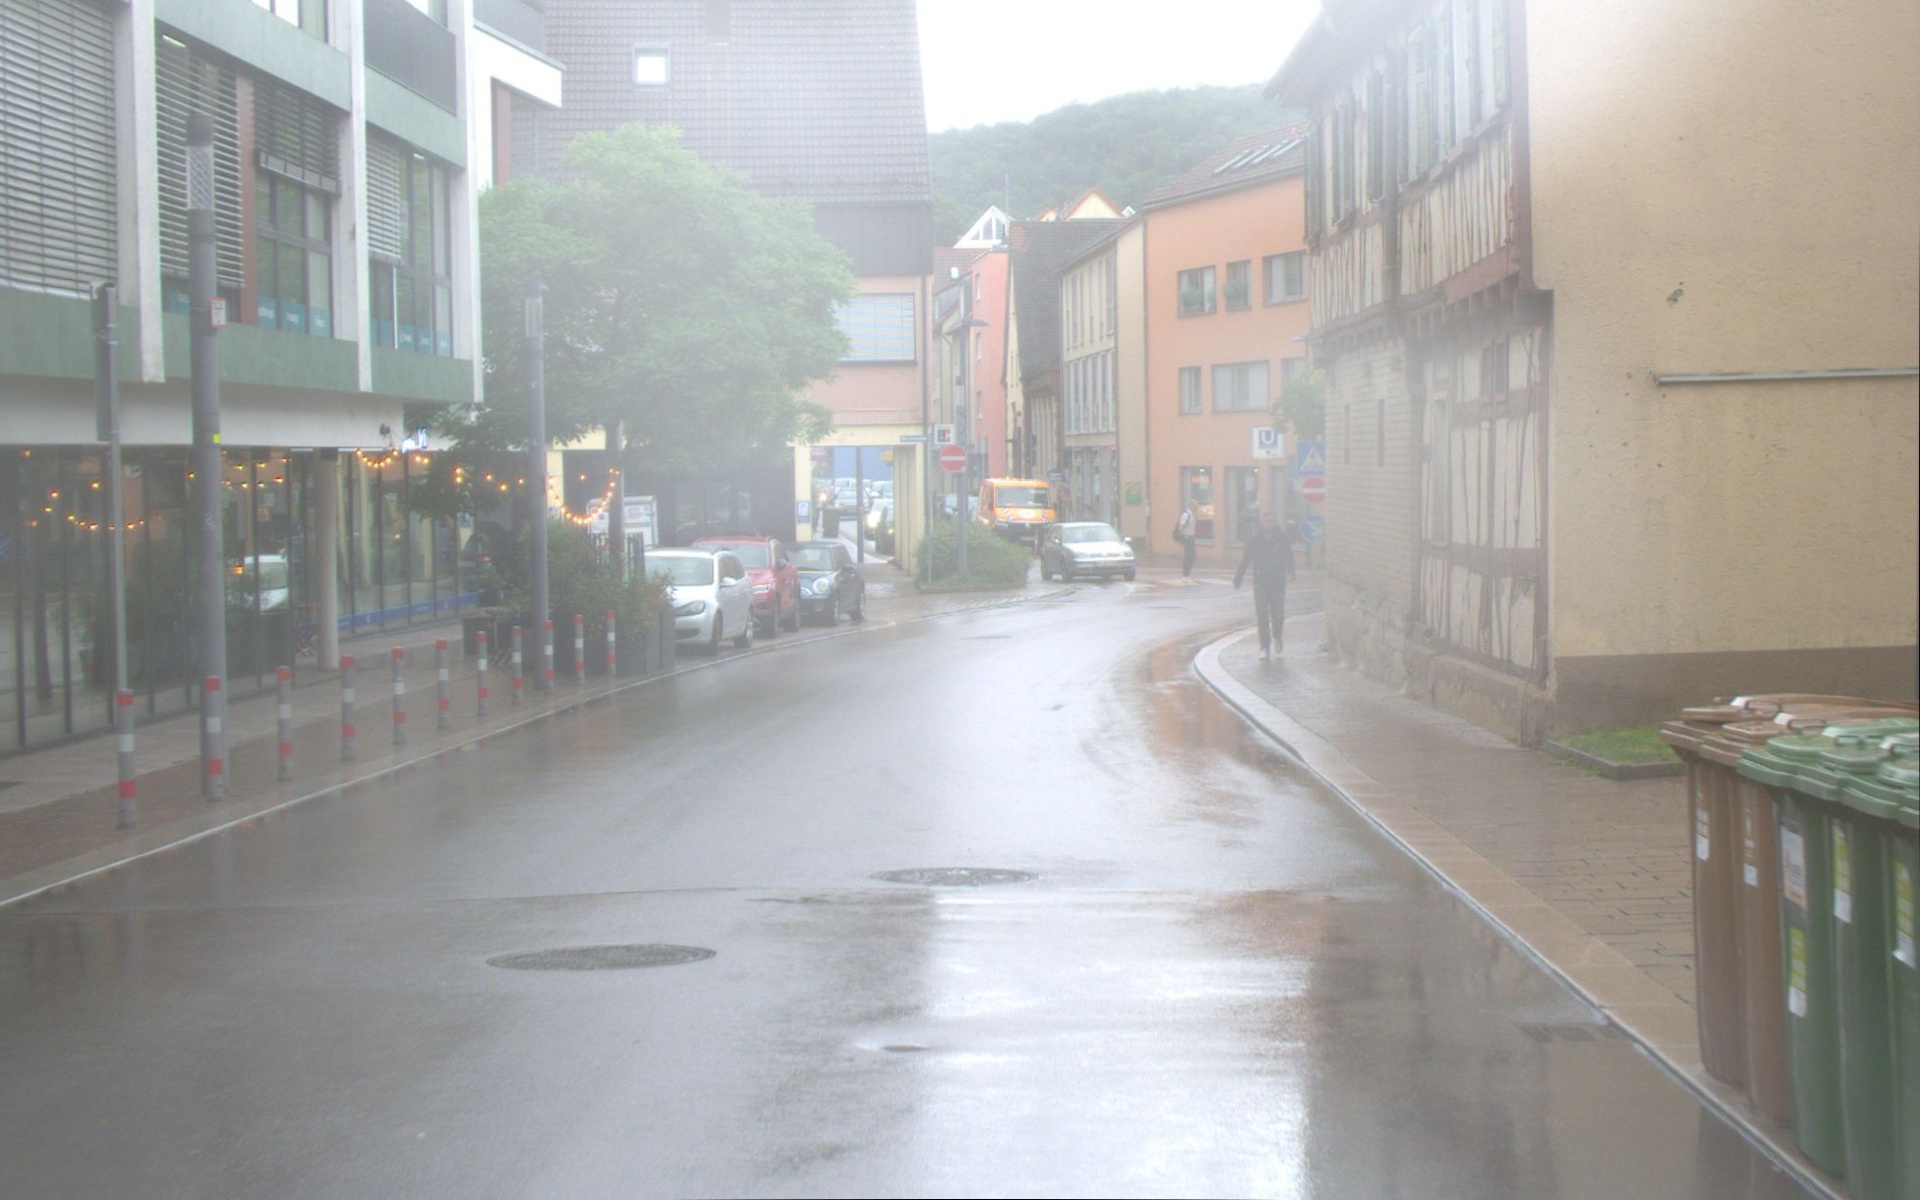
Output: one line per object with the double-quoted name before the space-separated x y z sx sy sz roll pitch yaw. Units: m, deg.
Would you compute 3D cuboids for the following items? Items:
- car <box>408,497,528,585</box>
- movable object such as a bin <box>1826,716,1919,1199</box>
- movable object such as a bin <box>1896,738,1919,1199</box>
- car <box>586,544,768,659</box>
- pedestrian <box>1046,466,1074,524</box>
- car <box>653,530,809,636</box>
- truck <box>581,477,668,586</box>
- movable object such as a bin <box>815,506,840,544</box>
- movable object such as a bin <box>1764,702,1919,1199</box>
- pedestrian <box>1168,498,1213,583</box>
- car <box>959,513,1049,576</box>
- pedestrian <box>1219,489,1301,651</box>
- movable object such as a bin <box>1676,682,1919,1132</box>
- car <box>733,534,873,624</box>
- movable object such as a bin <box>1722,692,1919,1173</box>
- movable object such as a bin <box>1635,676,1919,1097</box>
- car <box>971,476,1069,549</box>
"car" -10.586 -1.301 74.243 1.812 1.612 4.001 -1 5 3
"movable object such as a bin" 2.271 0.797 7.157 0.766 1.091 0.581 -2 1 1
"movable object such as a bin" 2.256 0.815 6.548 0.766 1.091 0.581 -2 1 1
"car" -3.977 -0.013 49.026 1.787 1.493 4.454 -1 1 6
"pedestrian" 3.500 -3.670 120.259 0.866 2.006 0.708 -1 2 -7
"car" -3.605 -0.301 54.745 1.787 1.571 4.106 -1 1 6
"truck" -7.310 -1.522 75.147 1.597 2.055 3.194 -3 6 -2
"movable object such as a bin" -4.870 -2.754 126.304 0.834 1.377 0.854 -1 2 -8
"movable object such as a bin" 2.277 0.789 7.750 0.766 1.091 0.581 -2 1 1
"pedestrian" 5.246 -1.356 78.294 0.862 1.908 0.757 0 2 17
"car" 1.036 -1.363 82.959 1.714 1.453 3.911 0 2 -6
"pedestrian" 3.580 -0.367 41.046 0.810 1.878 0.908 -3 1 -1
"movable object such as a bin" 2.322 0.780 8.963 0.766 1.091 0.581 -2 1 1
"car" -2.689 -0.389 59.696 1.715 1.453 3.909 0 2 8
"movable object such as a bin" 2.314 0.786 8.370 0.766 1.091 0.581 -2 1 1
"movable object such as a bin" 2.330 0.781 9.564 0.766 1.091 0.581 -2 1 1
"car" 1.859 -2.751 108.391 2.103 2.139 4.868 -3 2 -10
